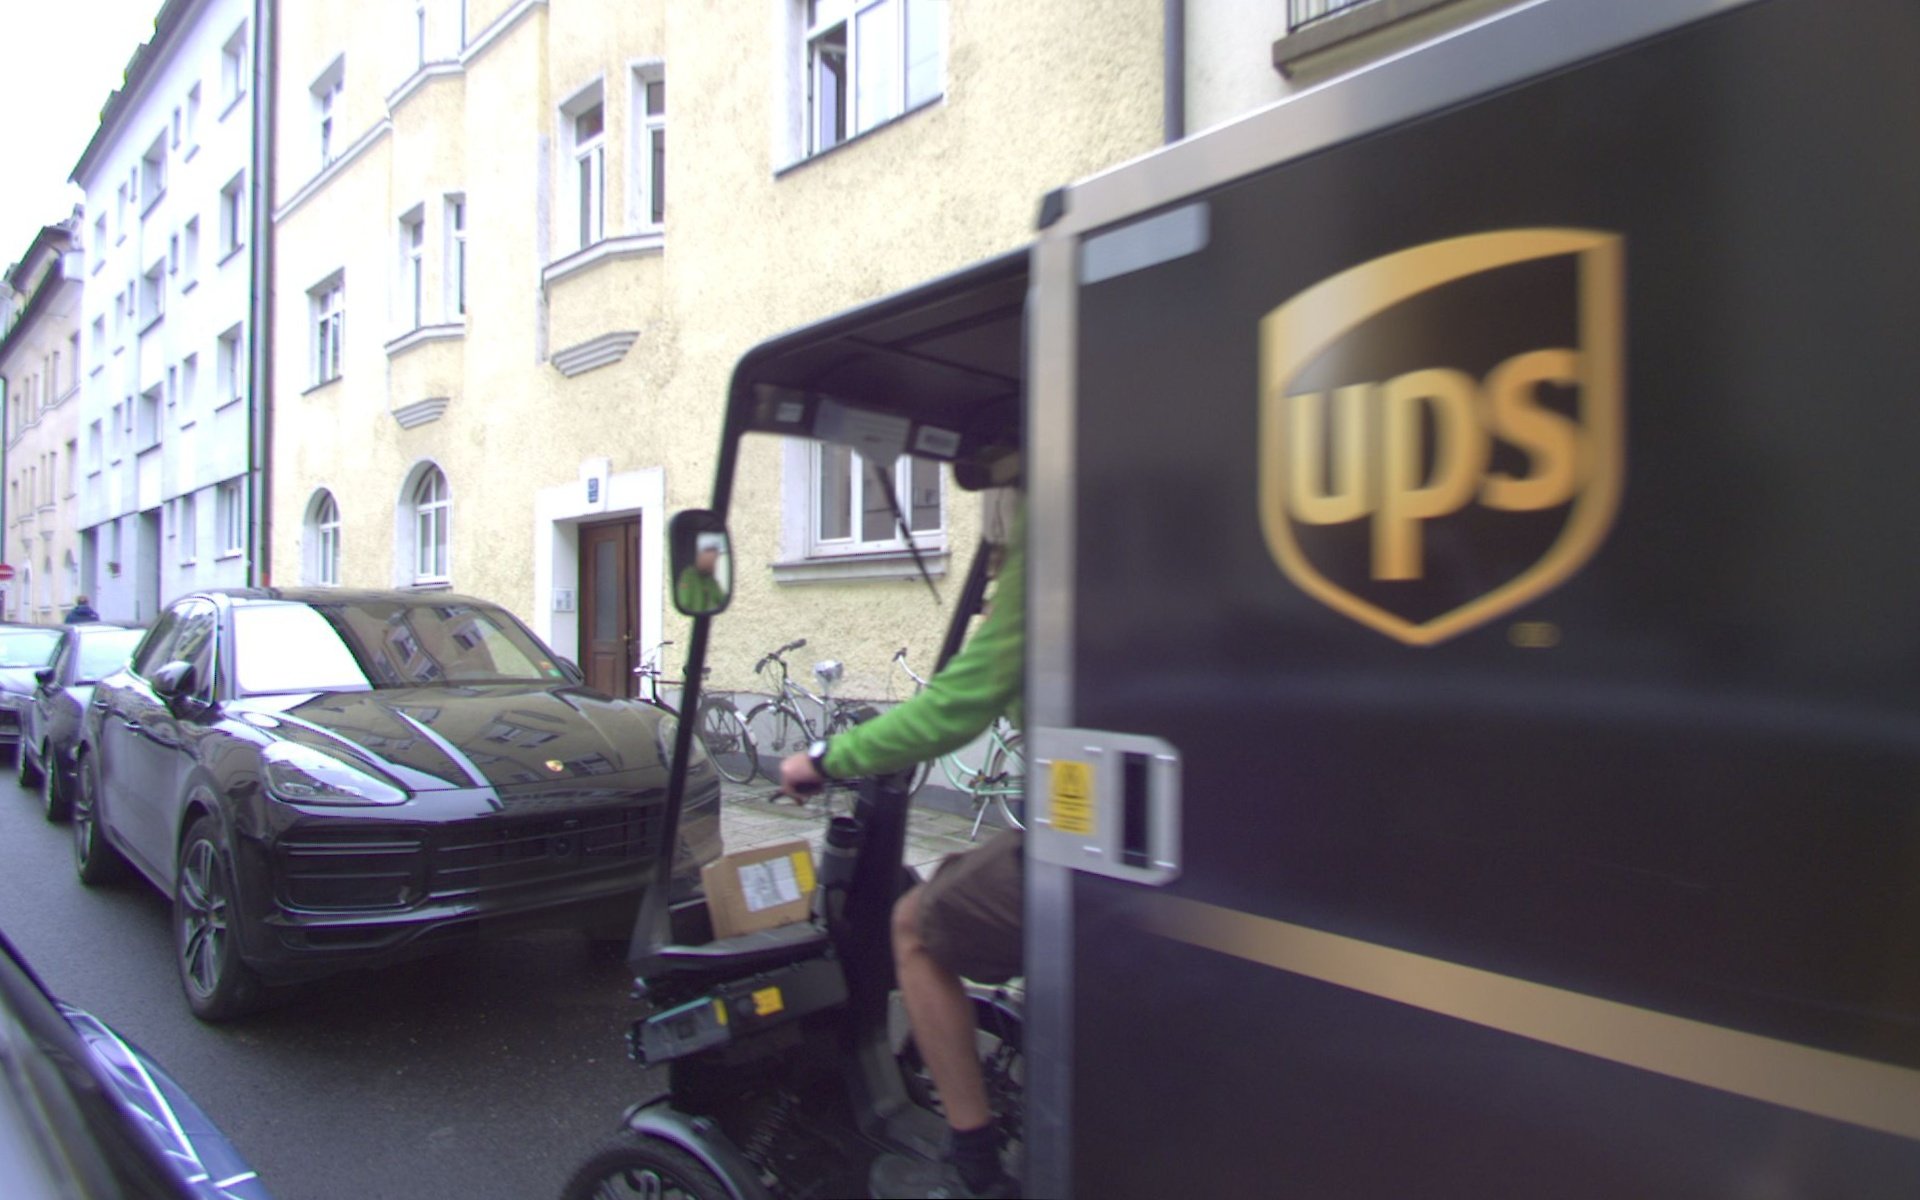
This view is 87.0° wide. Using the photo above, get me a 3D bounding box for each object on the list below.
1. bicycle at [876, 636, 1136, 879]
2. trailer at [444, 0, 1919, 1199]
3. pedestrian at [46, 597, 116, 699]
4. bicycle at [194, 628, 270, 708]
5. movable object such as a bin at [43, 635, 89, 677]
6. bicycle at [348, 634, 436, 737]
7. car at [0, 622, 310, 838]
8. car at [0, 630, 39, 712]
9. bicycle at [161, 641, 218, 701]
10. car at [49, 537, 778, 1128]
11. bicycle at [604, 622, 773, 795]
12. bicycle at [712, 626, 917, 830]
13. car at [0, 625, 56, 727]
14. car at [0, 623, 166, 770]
[{"bbox_3d":[0.251,0.890,6.277,1.550,1.288,0.588,-1,1,40],"label":"bicycle"},{"bbox_3d":[0.630,0.324,1.355,3.319,2.132,1.340,-1,-1,44],"label":"trailer"},{"bbox_3d":[-16.008,0.849,18.428,1.067,1.778,0.830,-1,-1,41],"label":"pedestrian"},{"bbox_3d":[-12.051,1.088,16.735,1.735,1.243,0.630,-1,-1,41],"label":"bicycle"},{"bbox_3d":[-24.206,1.496,27.401,0.622,1.059,0.799,-1,2,40],"label":"movable object such as a bin"},{"bbox_3d":[-7.232,1.049,12.858,1.631,1.199,0.434,-1,-1,40],"label":"bicycle"},{"bbox_3d":[-6.990,0.937,8.665,3.475,1.471,1.546,-1,-3,43],"label":"car"},{"bbox_3d":[-18.821,1.264,18.892,4.247,1.397,1.793,0,-3,40],"label":"car"},{"bbox_3d":[-14.369,1.308,18.860,1.569,1.038,0.539,-1,-1,41],"label":"bicycle"},{"bbox_3d":[-3.020,0.717,5.074,4.414,1.672,1.859,-1,-3,43],"label":"car"},{"bbox_3d":[-2.276,0.840,8.384,1.550,1.288,0.529,-1,1,40],"label":"bicycle"},{"bbox_3d":[-1.073,0.851,7.264,1.550,1.288,0.529,-1,1,40],"label":"bicycle"},{"bbox_3d":[-15.231,1.117,15.627,3.404,1.471,1.546,-1,-3,43],"label":"car"},{"bbox_3d":[-10.721,1.009,11.784,3.760,1.471,1.547,-1,-3,40],"label":"car"}]
